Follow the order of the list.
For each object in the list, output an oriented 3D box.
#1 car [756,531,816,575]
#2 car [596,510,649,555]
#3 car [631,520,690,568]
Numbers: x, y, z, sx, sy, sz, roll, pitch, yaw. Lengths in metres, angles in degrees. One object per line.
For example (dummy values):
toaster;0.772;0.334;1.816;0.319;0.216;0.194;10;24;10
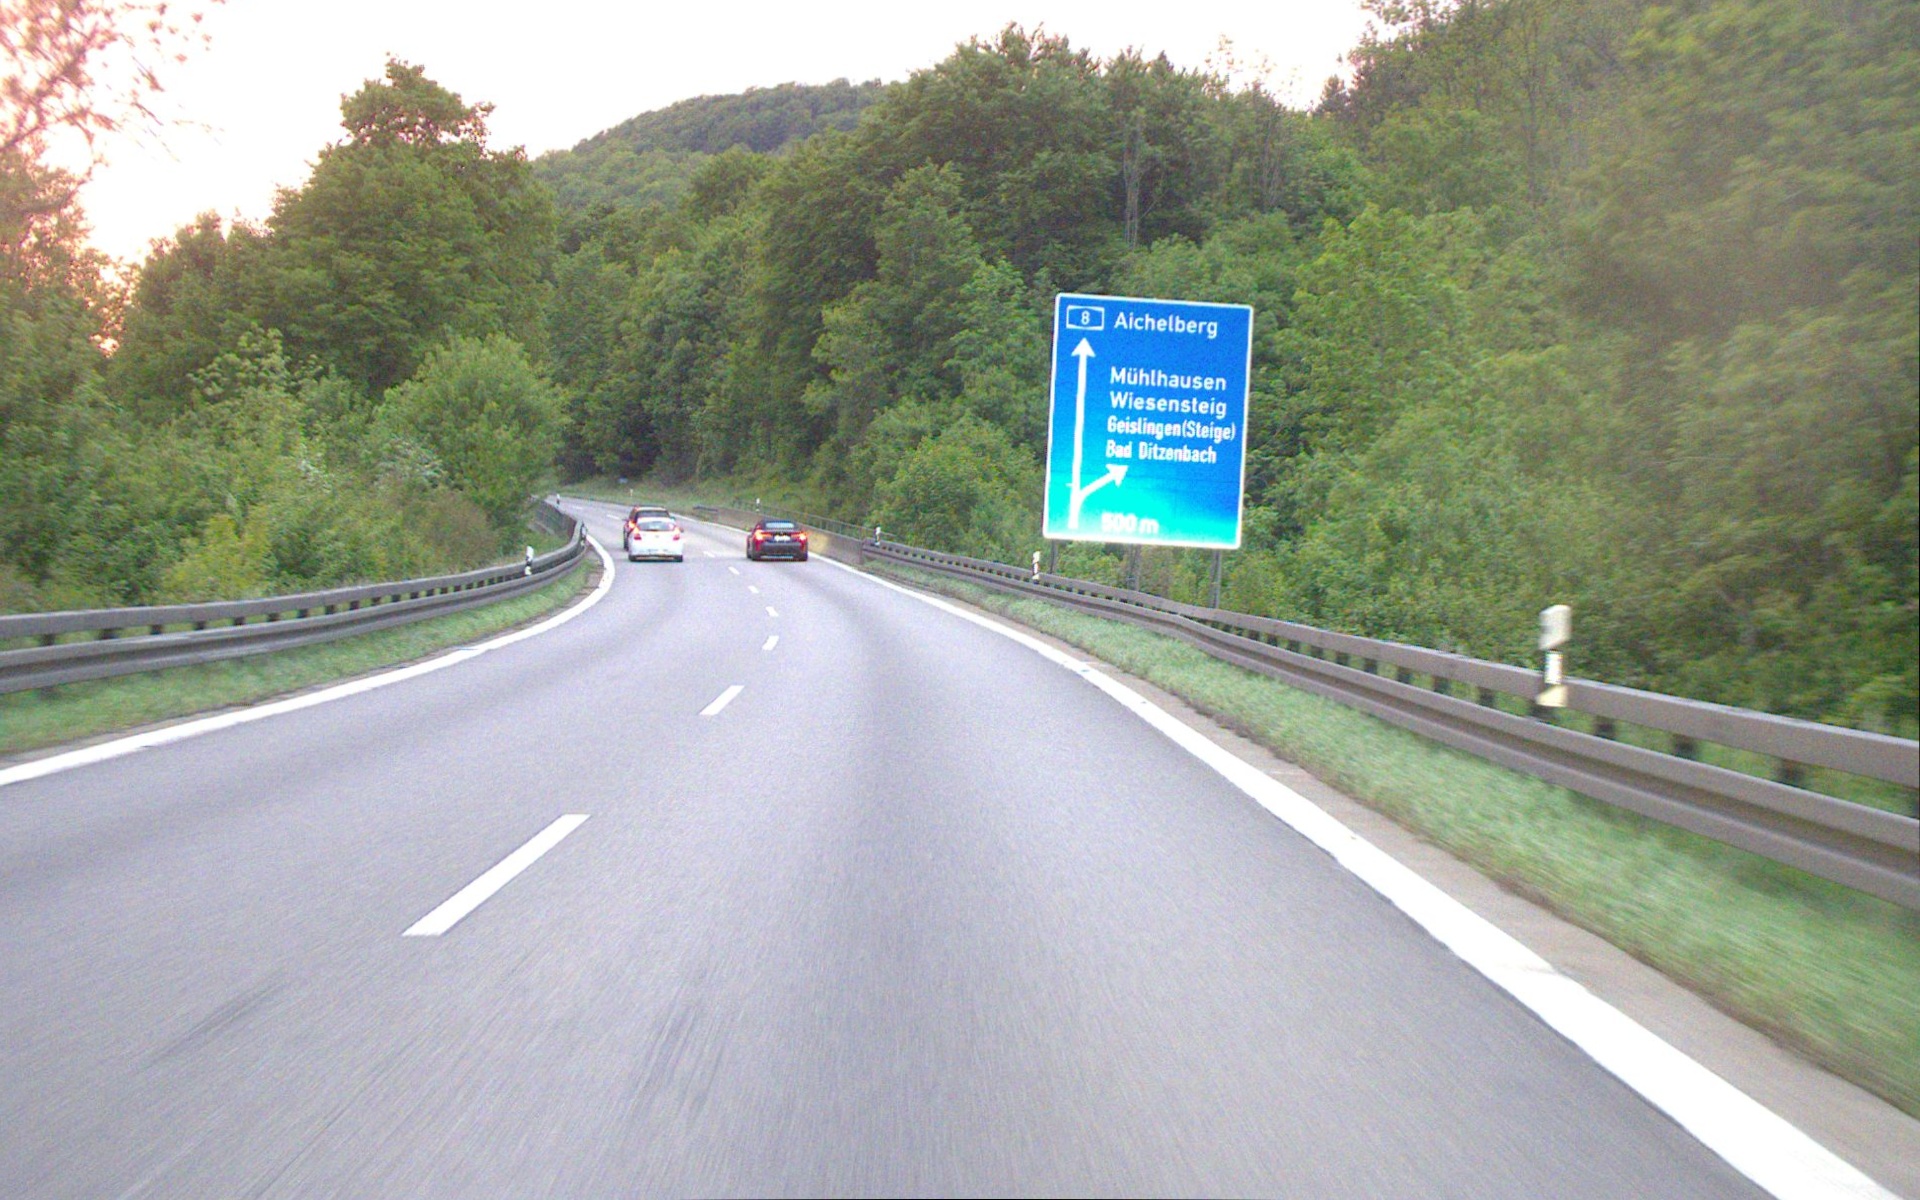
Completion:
car;-5.936;-1.609;117.612;1.878;1.461;4.000;0;0;-1
car;-13.027;-2.598;132.850;1.718;1.629;4.000;2;0;-2
car;-10.043;-1.860;115.653;1.718;1.496;4.000;2;0;-2
